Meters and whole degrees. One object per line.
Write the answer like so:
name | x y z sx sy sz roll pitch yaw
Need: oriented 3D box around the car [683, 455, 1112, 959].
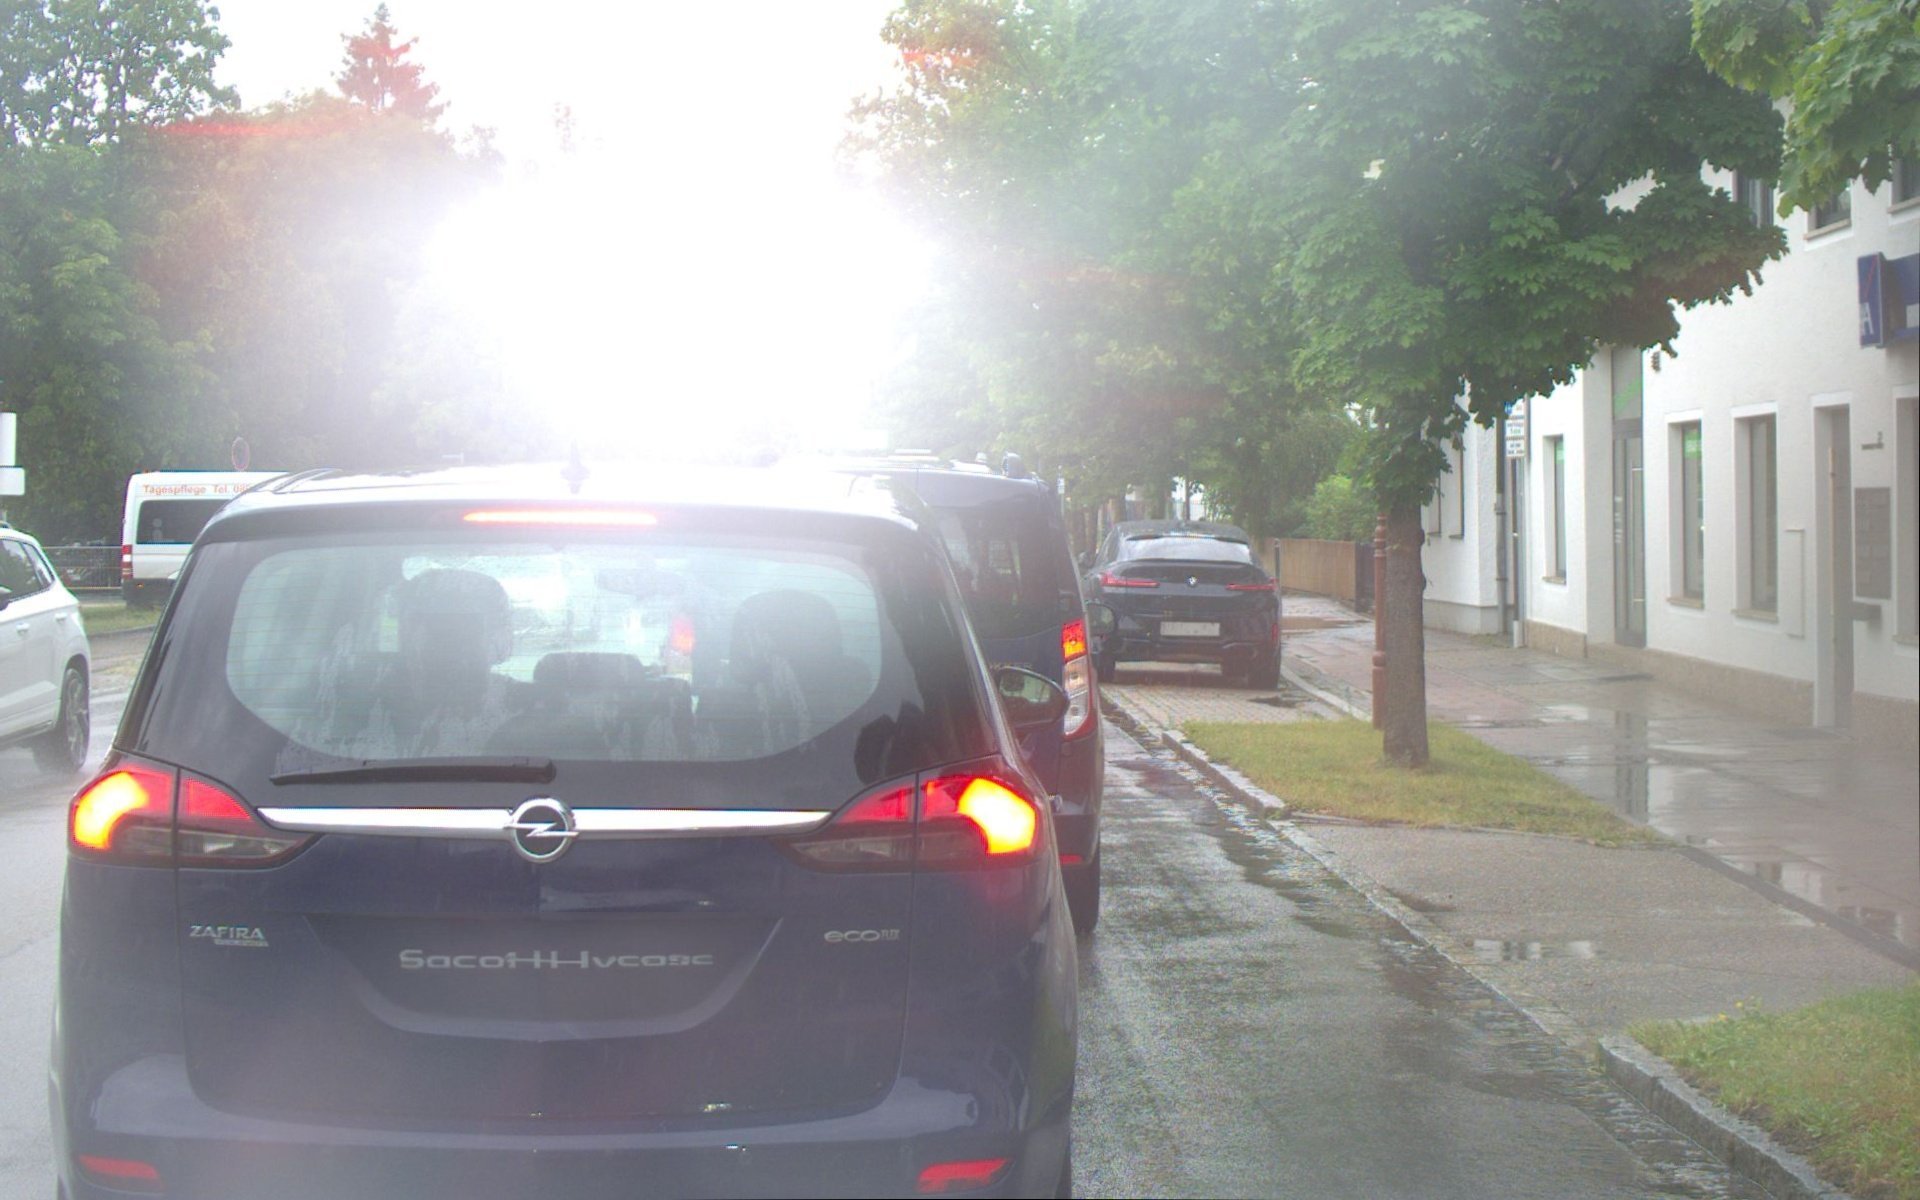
car | -0.244 0.350 13.780 1.500 1.770 3.112 1 1 -1

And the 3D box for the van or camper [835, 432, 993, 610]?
van or camper | -0.733 -1.249 54.610 2.360 2.656 5.372 -1 1 -1

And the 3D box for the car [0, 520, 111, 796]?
car | -6.423 0.330 20.173 1.926 1.561 4.126 -1 1 -1

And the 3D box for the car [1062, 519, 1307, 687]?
car | 2.214 -0.002 34.990 2.117 1.575 3.936 1 1 -1

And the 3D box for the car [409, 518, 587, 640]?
car | -6.133 -0.318 46.025 1.752 1.506 4.230 -2 1 0

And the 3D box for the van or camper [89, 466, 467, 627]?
van or camper | -11.845 -0.940 60.082 6.247 2.698 2.101 -1 1 -5

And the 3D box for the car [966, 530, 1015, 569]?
car | 1.088 -1.817 123.586 1.630 1.373 3.623 1 1 -1

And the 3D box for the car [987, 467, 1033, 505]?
car | 1.915 -4.418 133.040 1.630 1.373 3.623 -1 1 -1

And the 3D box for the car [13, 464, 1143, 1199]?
car | -0.627 0.553 7.237 1.768 1.599 3.663 0 1 -1
